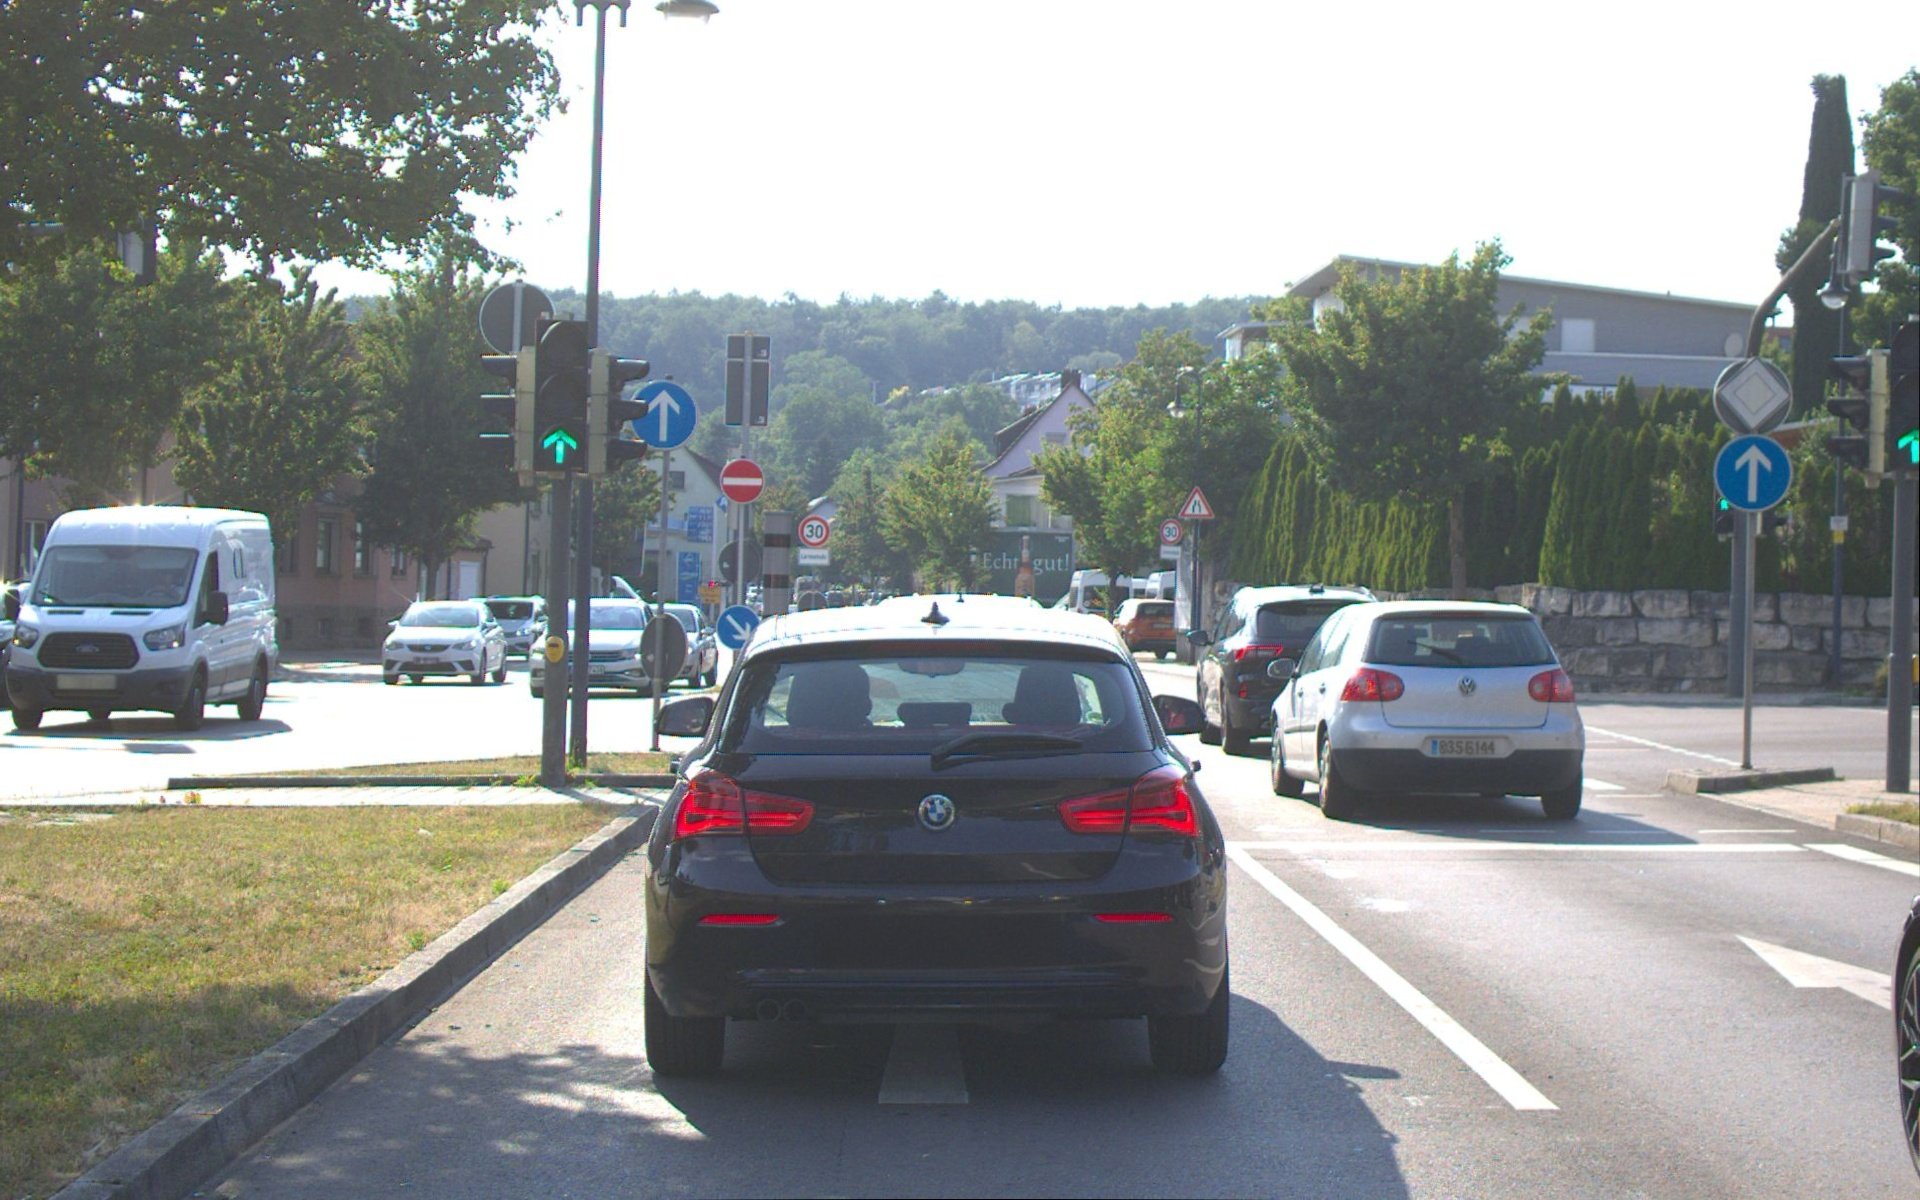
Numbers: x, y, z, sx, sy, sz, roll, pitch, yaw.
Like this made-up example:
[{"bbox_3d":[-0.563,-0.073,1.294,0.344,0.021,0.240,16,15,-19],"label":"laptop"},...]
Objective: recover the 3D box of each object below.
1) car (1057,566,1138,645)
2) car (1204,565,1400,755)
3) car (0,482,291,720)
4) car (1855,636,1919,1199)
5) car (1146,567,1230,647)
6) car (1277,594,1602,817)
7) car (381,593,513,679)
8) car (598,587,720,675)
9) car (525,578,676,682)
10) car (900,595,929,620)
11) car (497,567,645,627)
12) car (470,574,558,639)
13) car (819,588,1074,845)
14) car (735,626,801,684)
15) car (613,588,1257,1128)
[{"bbox_3d":[4.754,0.155,119.619,2.149,2.671,6.604,1,0,-3],"label":"car"},{"bbox_3d":[3.328,0.548,33.968,1.603,1.761,3.411,1,0,0],"label":"car"},{"bbox_3d":[-9.110,-0.009,38.683,2.084,2.467,5.479,1,0,0],"label":"car"},{"bbox_3d":[3.172,0.795,6.637,1.699,1.364,4.262,0,1,-1],"label":"car"},{"bbox_3d":[7.930,0.209,120.116,2.111,2.712,6.444,1,0,-4],"label":"car"},{"bbox_3d":[3.290,0.685,24.161,1.753,1.409,3.422,1,0,-1],"label":"car"},{"bbox_3d":[-8.970,0.607,60.338,1.757,1.406,4.000,1,0,-1],"label":"car"},{"bbox_3d":[-5.049,0.507,57.999,1.589,1.422,3.578,1,0,2],"label":"car"},{"bbox_3d":[-5.448,0.427,52.522,1.835,1.483,4.566,1,0,0],"label":"car"},{"bbox_3d":[-2.843,0.436,214.533,1.596,1.480,3.475,2,0,-3],"label":"car"},{"bbox_3d":[-16.910,-0.141,149.709,6.158,2.436,2.249,2,0,-1],"label":"car"},{"bbox_3d":[-11.422,0.160,88.311,1.686,1.606,4.413,1,0,0],"label":"car"},{"bbox_3d":[-0.107,0.730,23.700,1.591,1.595,3.893,1,0,-1],"label":"car"},{"bbox_3d":[-5.203,1.481,93.615,1.532,1.457,3.506,1,0,1],"label":"car"},{"bbox_3d":[-0.091,0.717,11.370,1.771,1.451,3.516,1,1,-1],"label":"car"}]
